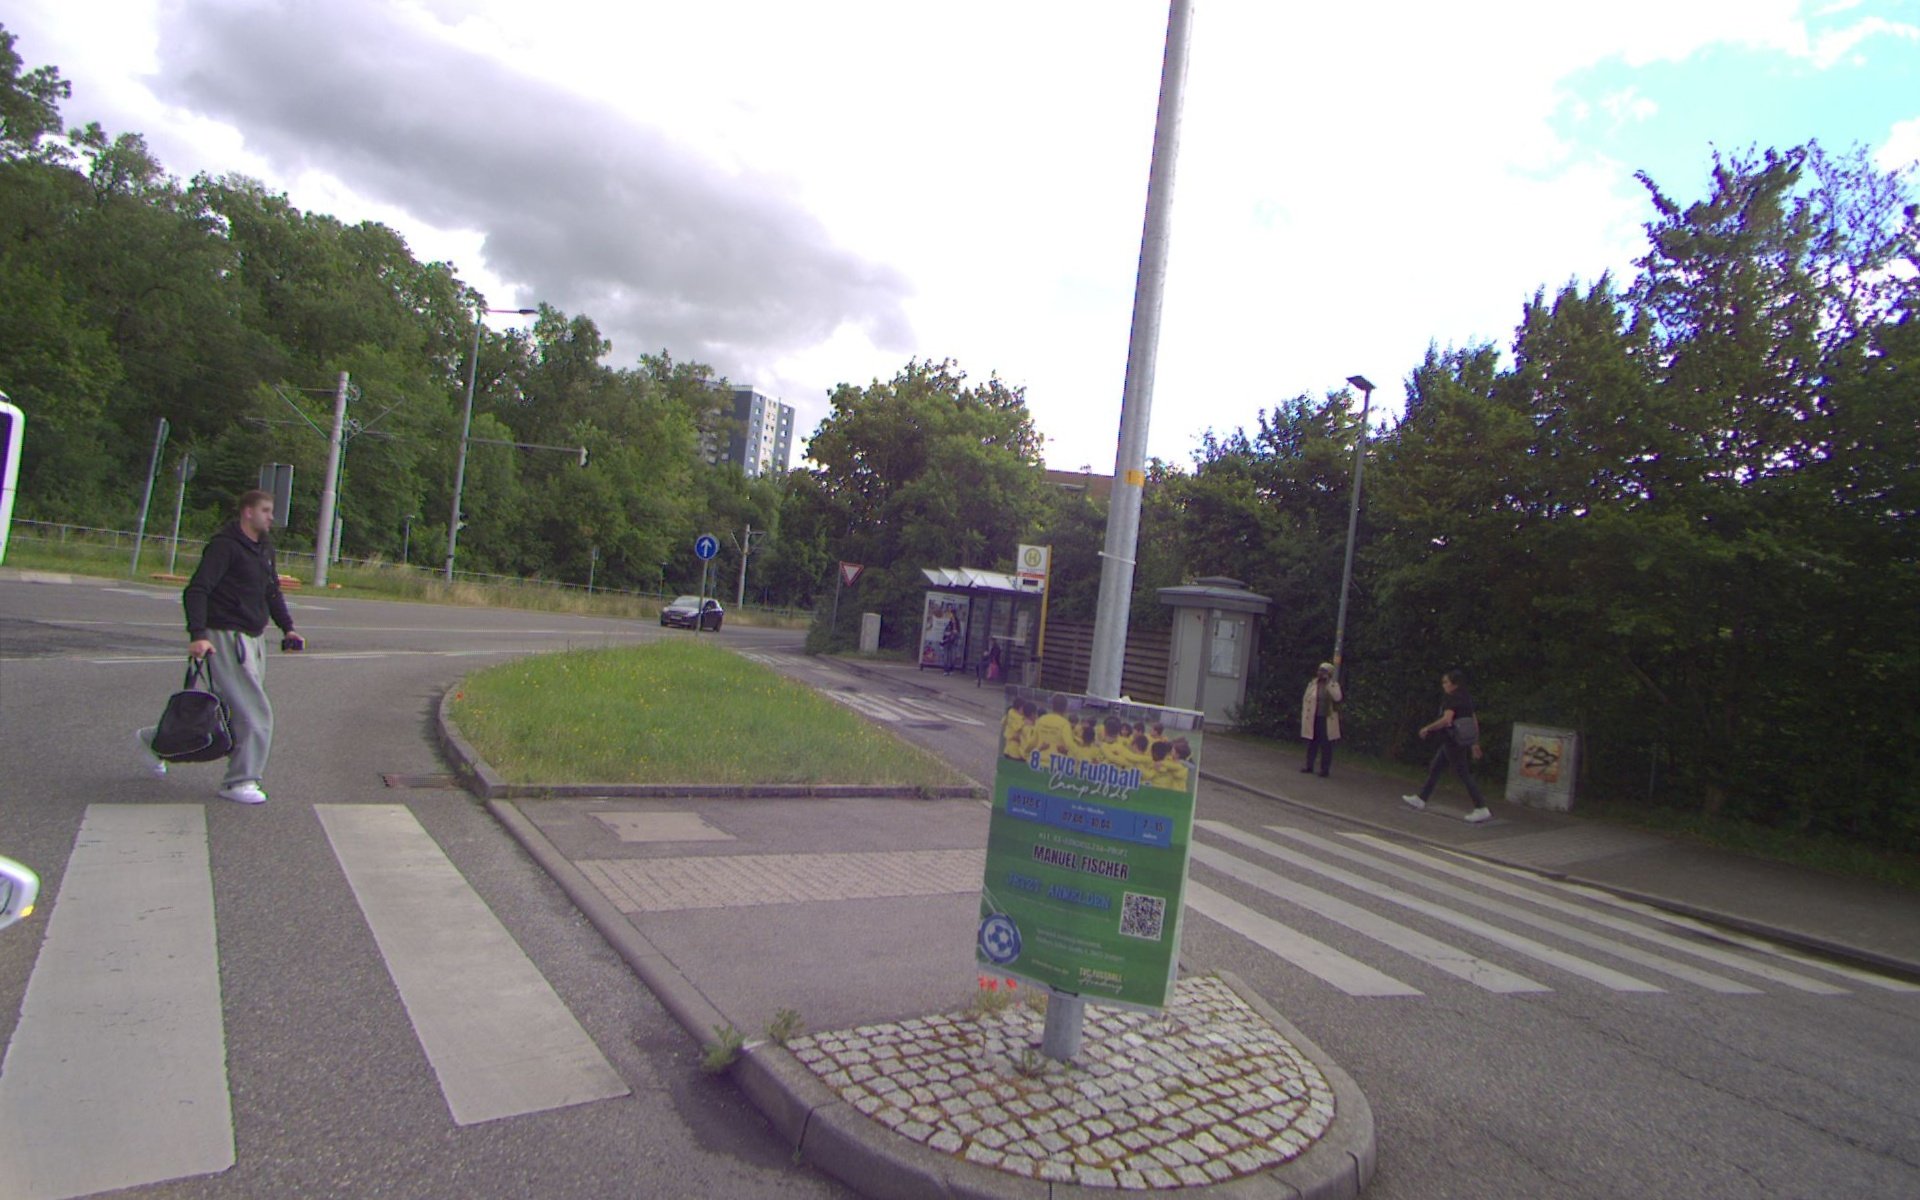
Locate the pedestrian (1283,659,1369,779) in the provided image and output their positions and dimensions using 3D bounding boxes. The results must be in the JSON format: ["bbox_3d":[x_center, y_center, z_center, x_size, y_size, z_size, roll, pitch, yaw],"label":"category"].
[{"bbox_3d":[5.314,1.722,14.625,0.679,1.613,0.766,7,-1,-28],"label":"pedestrian"}]

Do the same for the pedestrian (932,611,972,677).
[{"bbox_3d":[-0.224,1.170,27.101,0.759,1.669,0.685,7,-1,-15],"label":"pedestrian"}]

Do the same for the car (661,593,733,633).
[{"bbox_3d":[-11.687,0.619,45.042,1.728,1.451,4.432,7,-2,3],"label":"car"}]

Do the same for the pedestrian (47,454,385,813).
[{"bbox_3d":[-4.184,0.179,5.725,1.042,1.767,0.958,6,-1,18],"label":"pedestrian"}]

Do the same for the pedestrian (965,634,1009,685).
[{"bbox_3d":[0.675,1.507,25.491,0.741,1.184,0.767,7,-1,-25],"label":"pedestrian"}]

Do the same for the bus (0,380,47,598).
[{"bbox_3d":[-16.148,-2.037,9.688,2.624,3.240,12.210,7,-2,4],"label":"bus"}]

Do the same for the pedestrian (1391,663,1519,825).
[{"bbox_3d":[6.198,1.793,12.614,0.849,1.844,0.976,7,-1,-34],"label":"pedestrian"}]
